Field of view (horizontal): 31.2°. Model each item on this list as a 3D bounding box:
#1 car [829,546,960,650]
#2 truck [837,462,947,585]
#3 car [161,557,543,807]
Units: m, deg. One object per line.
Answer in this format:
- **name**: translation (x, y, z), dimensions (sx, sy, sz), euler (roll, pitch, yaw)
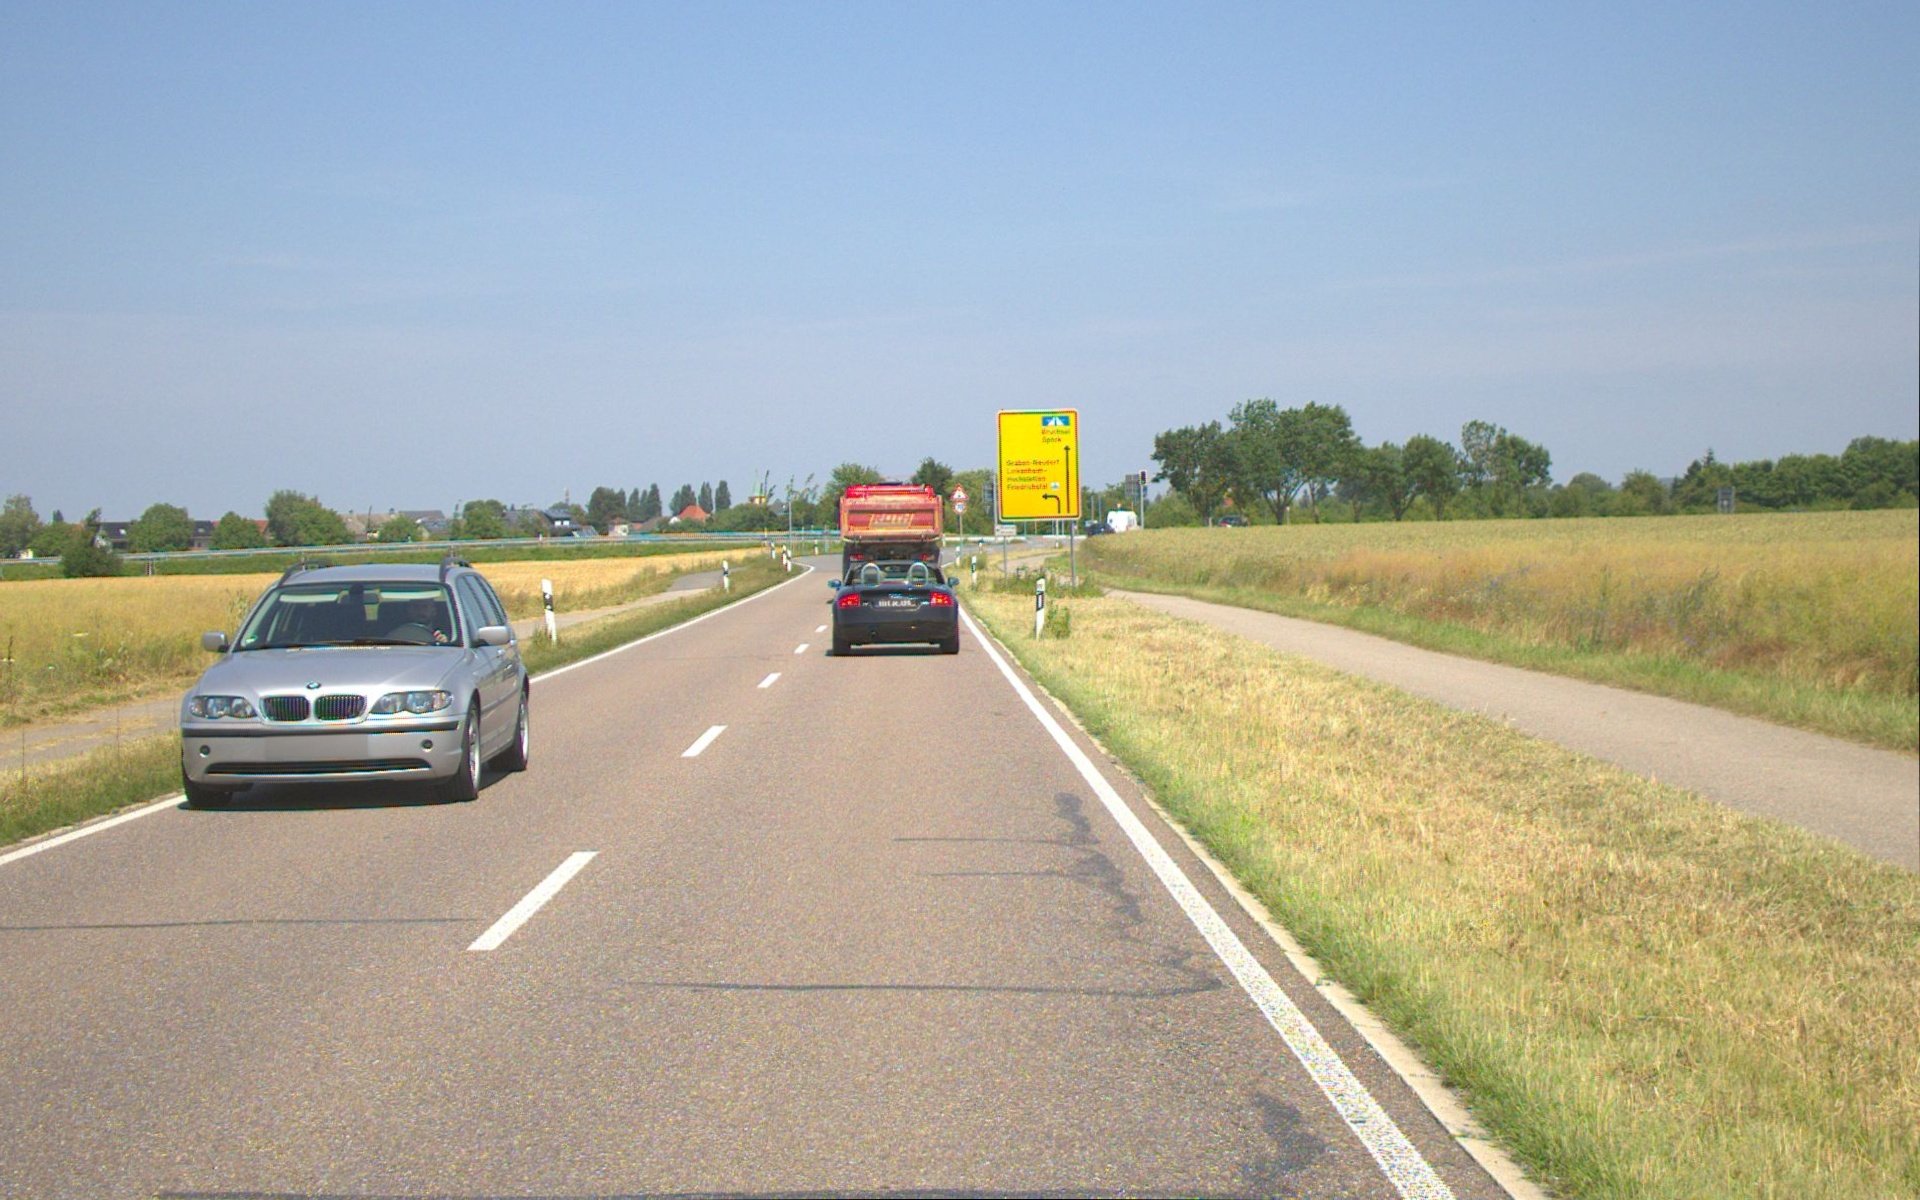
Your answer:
- **car**: translation (-0.902, -0.048, 48.087), dimensions (1.747, 1.371, 3.679), euler (1, 1, -1)
- **truck**: translation (-1.749, -1.937, 89.474), dimensions (2.714, 3.042, 8.165), euler (0, 1, -1)
- **car**: translation (-3.768, 0.455, 21.946), dimensions (1.747, 1.395, 4.032), euler (-2, 1, -1)
